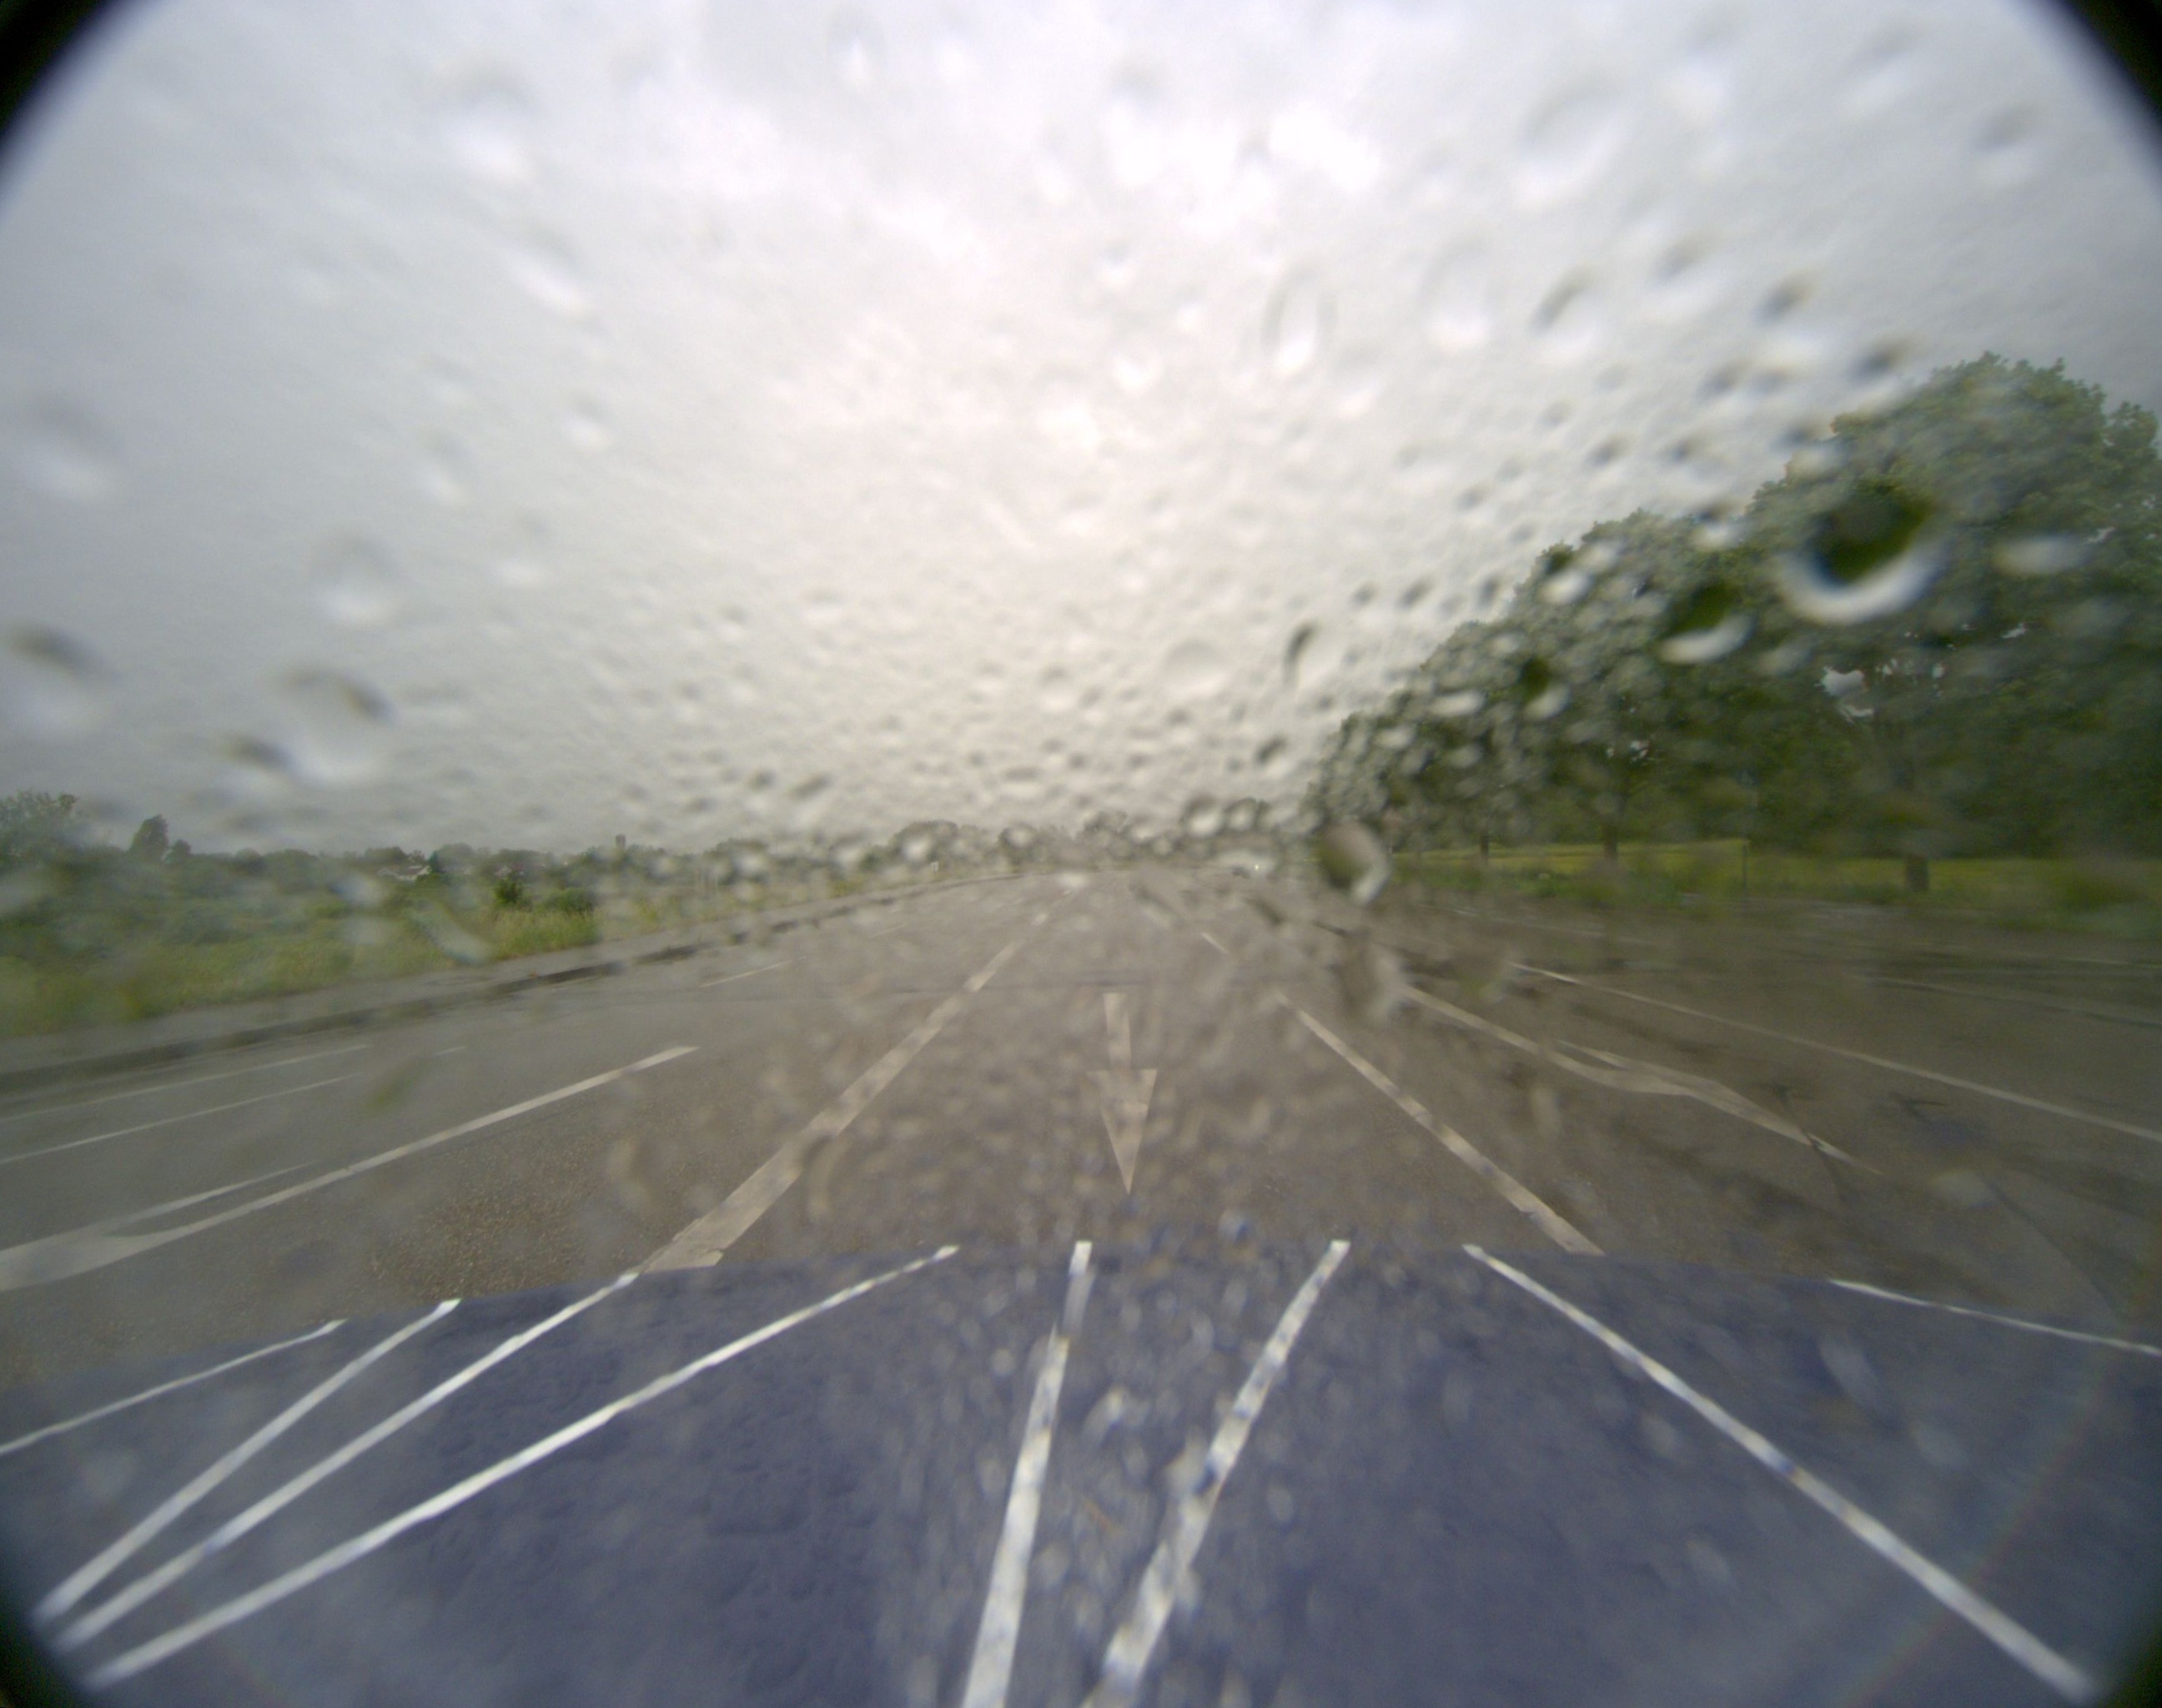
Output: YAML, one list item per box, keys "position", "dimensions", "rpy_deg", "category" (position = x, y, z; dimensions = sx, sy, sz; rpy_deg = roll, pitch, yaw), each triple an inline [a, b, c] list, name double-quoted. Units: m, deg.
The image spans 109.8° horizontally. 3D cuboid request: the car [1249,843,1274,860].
- position: [21.000, -0.262, 88.384]
  dimensions: [2.108, 1.881, 4.798]
  rpy_deg: [-1, 0, 22]
  category: "car"
